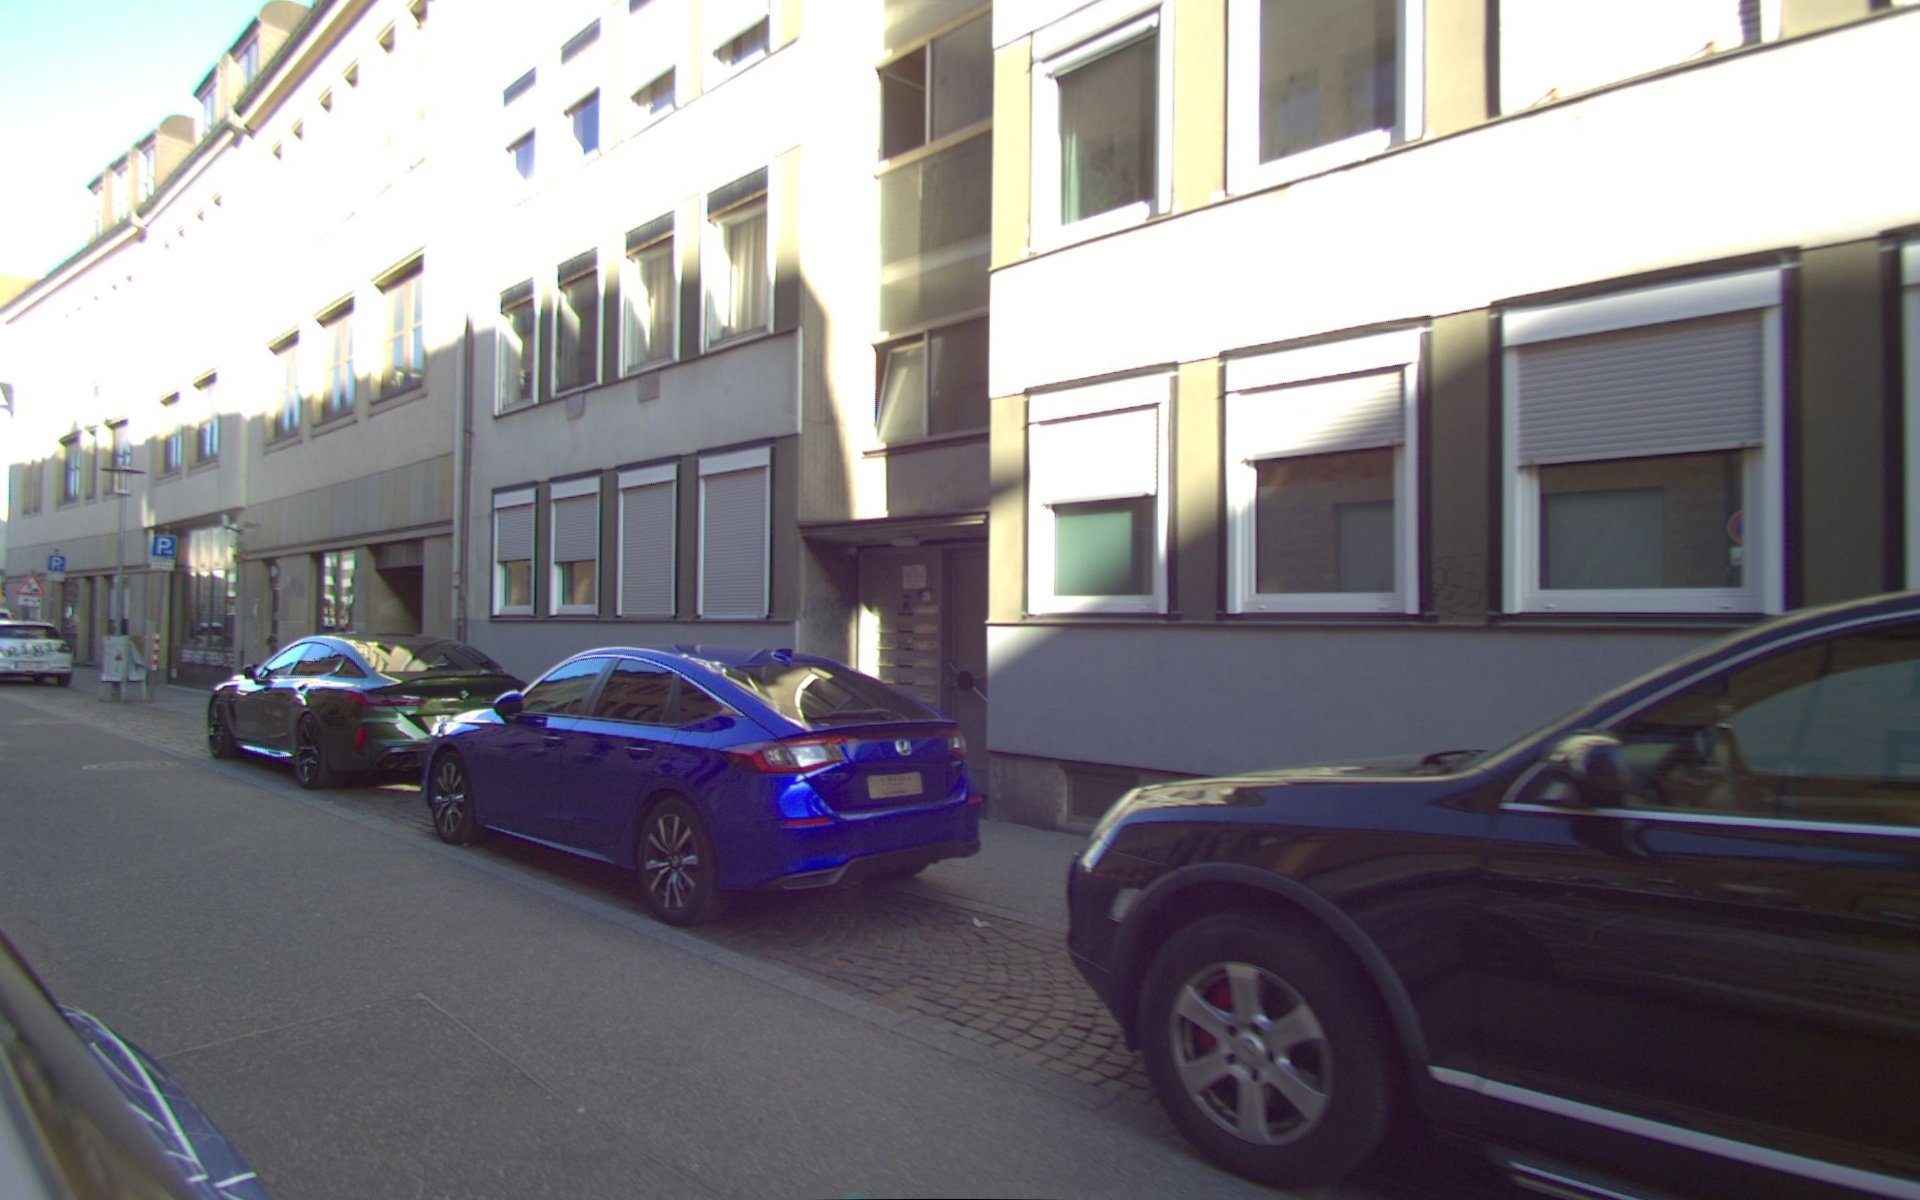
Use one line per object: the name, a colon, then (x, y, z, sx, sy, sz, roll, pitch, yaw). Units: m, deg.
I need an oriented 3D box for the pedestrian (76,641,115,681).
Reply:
pedestrian: (-23.630, 1.656, 27.653, 0.616, 1.043, 0.649, -1, -2, 33)

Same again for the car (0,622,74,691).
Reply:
car: (-22.700, 1.311, 24.047, 3.769, 1.534, 1.654, -1, -5, 37)

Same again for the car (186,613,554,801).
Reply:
car: (-6.322, 0.940, 10.596, 4.726, 1.542, 1.870, -1, -3, 41)

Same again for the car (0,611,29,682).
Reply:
car: (-27.506, 1.233, 27.877, 4.726, 1.872, 1.881, -1, -4, 37)

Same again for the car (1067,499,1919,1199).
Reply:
car: (2.635, 0.684, 2.296, 4.553, 1.688, 1.869, -1, -3, 42)

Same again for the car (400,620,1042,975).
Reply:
car: (-1.767, 0.928, 6.564, 4.337, 1.542, 1.870, -1, -3, 41)
